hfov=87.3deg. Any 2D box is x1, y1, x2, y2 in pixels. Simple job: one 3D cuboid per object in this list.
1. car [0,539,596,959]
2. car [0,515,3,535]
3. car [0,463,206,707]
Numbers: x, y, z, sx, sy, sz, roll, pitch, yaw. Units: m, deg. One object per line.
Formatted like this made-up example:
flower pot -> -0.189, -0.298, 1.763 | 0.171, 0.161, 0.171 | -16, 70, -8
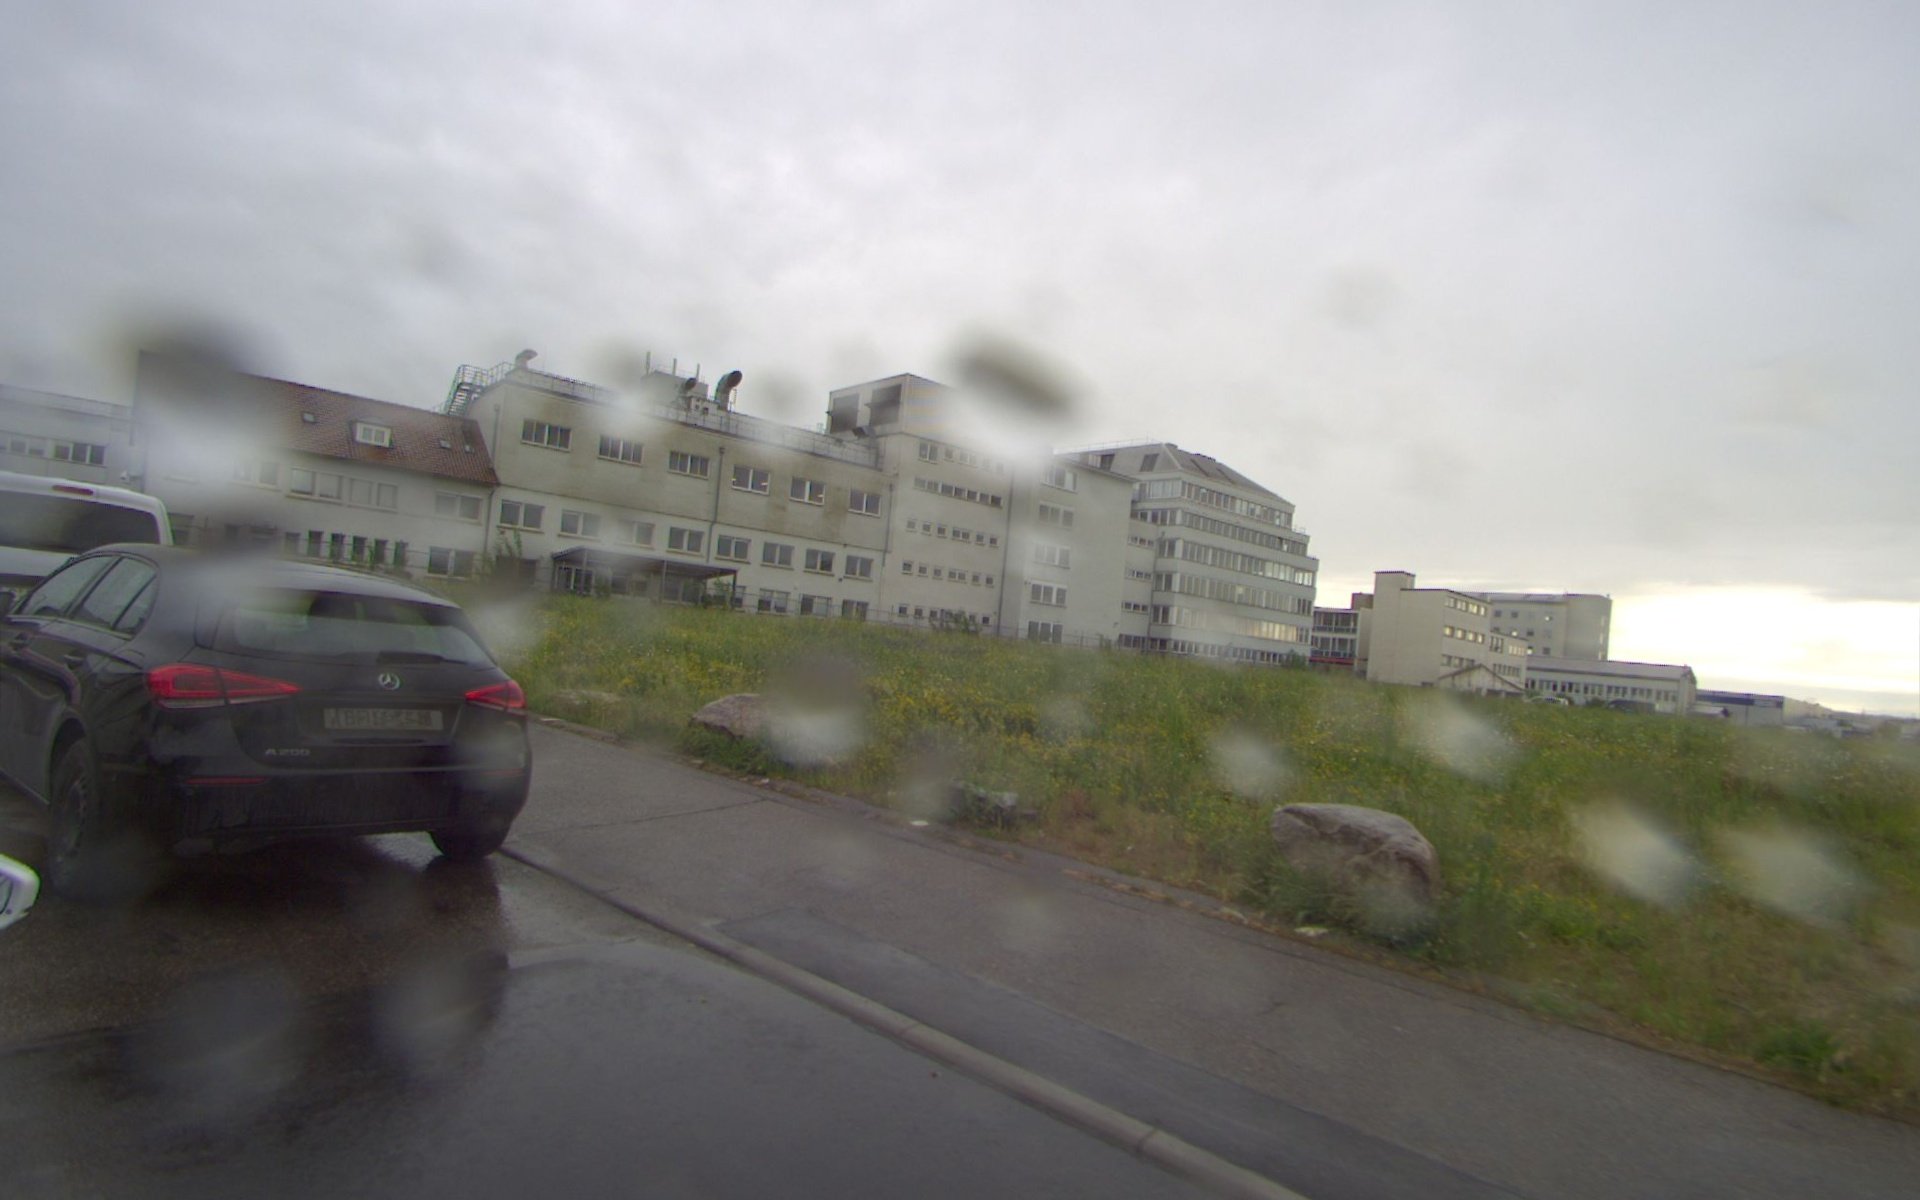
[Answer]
car -> -4.046, 0.506, 5.456 | 4.256, 1.351, 1.769 | 5, -3, 37
car -> -14.311, -0.512, 13.364 | 4.577, 1.592, 1.642 | 5, -3, 39
car -> -9.021, -0.241, 9.471 | 4.506, 1.846, 1.769 | 5, -3, 37
